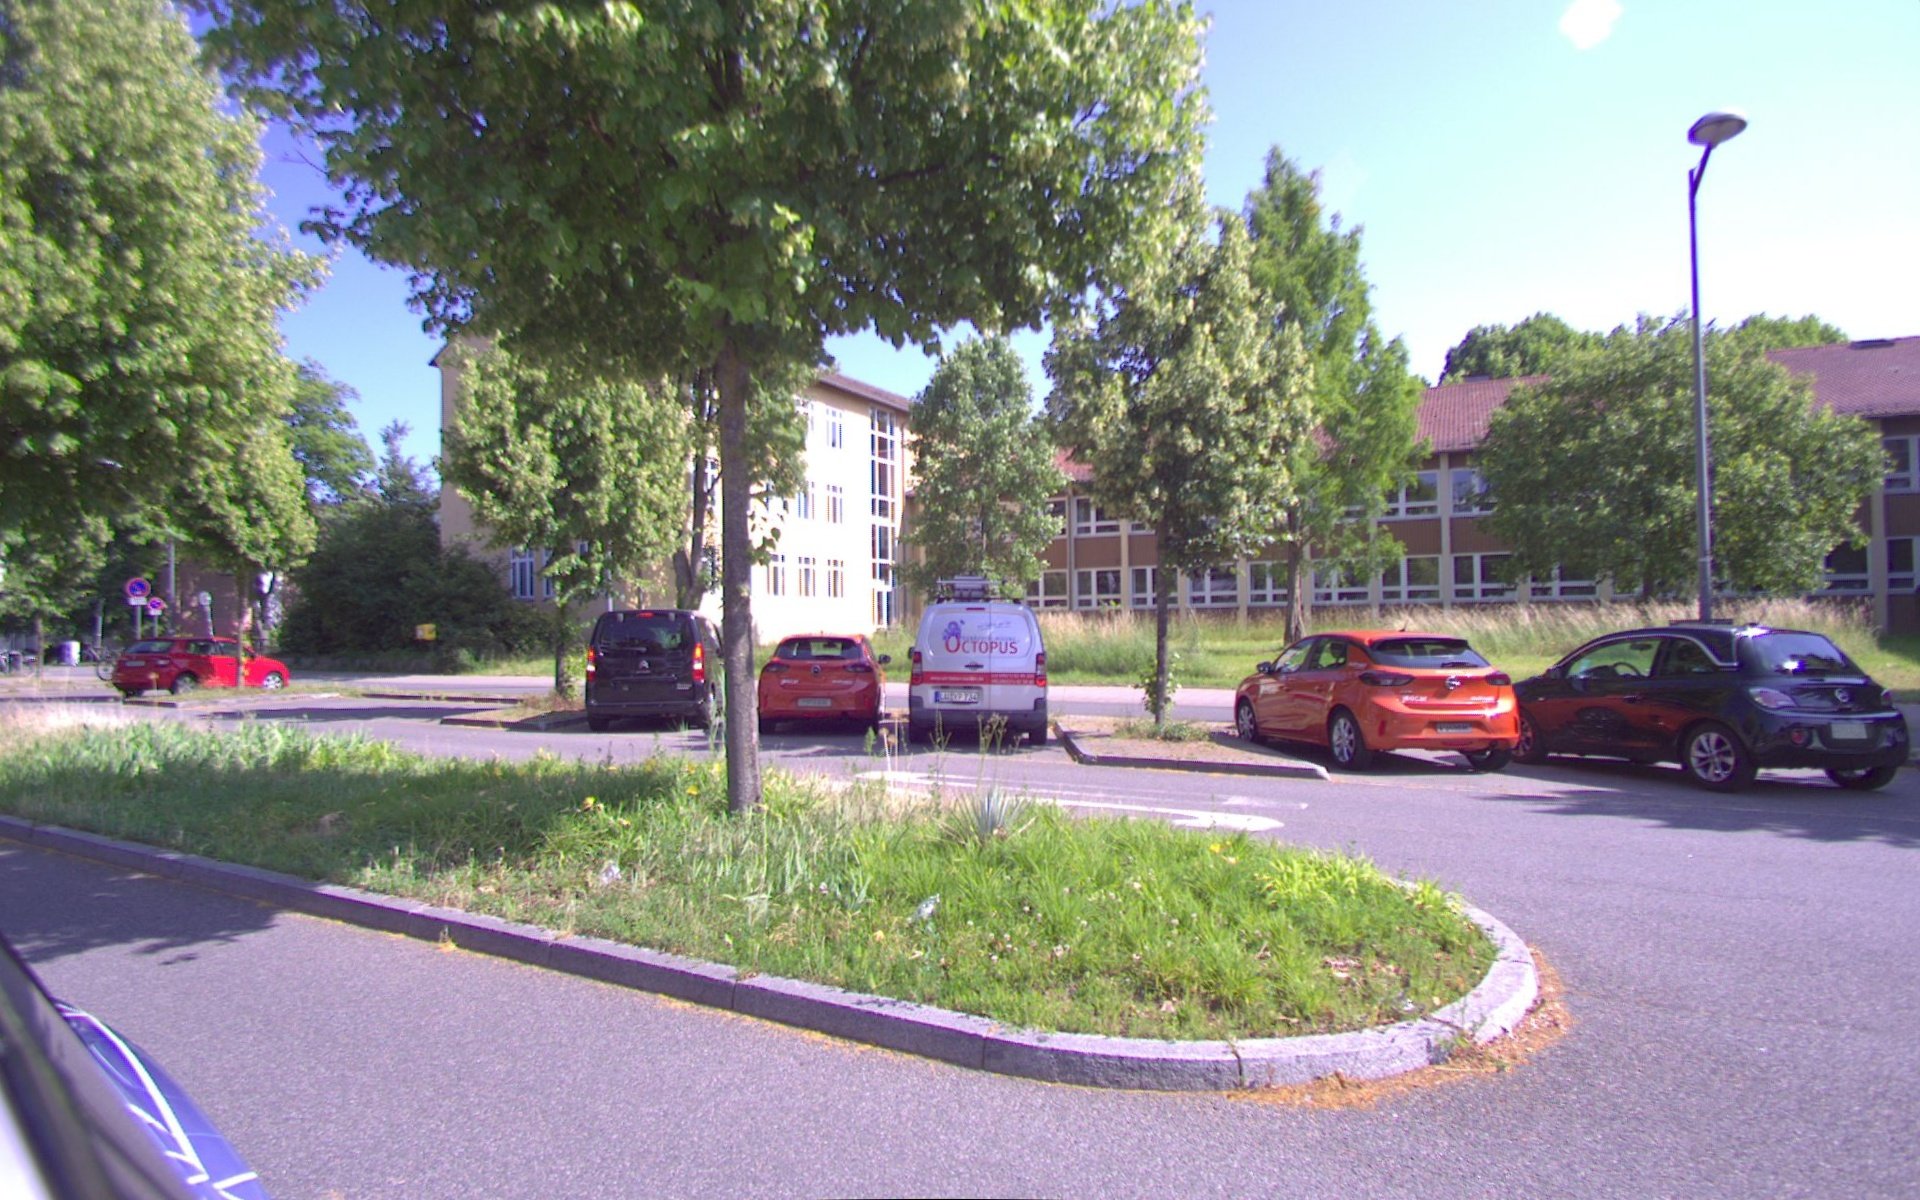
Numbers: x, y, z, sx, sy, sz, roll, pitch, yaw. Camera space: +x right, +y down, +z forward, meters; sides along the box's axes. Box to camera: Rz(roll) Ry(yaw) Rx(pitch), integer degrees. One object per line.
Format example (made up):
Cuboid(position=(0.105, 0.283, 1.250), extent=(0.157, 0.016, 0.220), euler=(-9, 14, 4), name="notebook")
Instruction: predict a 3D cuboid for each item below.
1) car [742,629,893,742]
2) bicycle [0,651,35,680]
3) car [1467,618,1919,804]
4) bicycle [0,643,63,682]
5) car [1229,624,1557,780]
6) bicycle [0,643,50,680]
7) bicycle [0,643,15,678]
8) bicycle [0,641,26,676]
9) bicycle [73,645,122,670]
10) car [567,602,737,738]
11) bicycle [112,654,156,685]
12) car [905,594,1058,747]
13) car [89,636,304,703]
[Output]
Cuboid(position=(-1.995, 1.204, 15.169), extent=(1.829, 1.438, 3.775), euler=(-1, -2, -2), name="car")
Cuboid(position=(-33.877, 2.299, 35.131), extent=(0.736, 0.995, 2.529), euler=(-2, -3, 27), name="bicycle")
Cuboid(position=(7.072, 0.950, 9.883), extent=(1.825, 1.434, 3.783), euler=(1, -3, -11), name="car")
Cuboid(position=(-31.830, 2.107, 33.925), extent=(0.736, 1.266, 2.529), euler=(-2, -2, 27), name="bicycle")
Cuboid(position=(4.593, 1.001, 11.430), extent=(1.689, 1.434, 3.848), euler=(-1, -1, -6), name="car")
Cuboid(position=(-32.795, 2.100, 34.503), extent=(0.736, 1.266, 2.500), euler=(-2, -3, 27), name="bicycle")
Cuboid(position=(-35.761, 2.178, 36.367), extent=(0.736, 1.266, 2.529), euler=(-2, -3, 27), name="bicycle")
Cuboid(position=(-34.894, 2.099, 35.874), extent=(0.736, 1.249, 2.529), euler=(-2, -3, 27), name="bicycle")
Cuboid(position=(-39.417, 2.628, 46.271), extent=(1.686, 1.089, 0.379), euler=(-1, -2, -20), name="bicycle")
Cuboid(position=(-4.703, 1.047, 16.057), extent=(1.972, 1.830, 4.195), euler=(-1, -2, -8), name="car")
Cuboid(position=(-25.011, 2.100, 30.629), extent=(1.263, 0.910, 0.518), euler=(-1, -3, 25), name="bicycle")
Cuboid(position=(0.189, 0.881, 13.840), extent=(1.793, 1.785, 3.776), euler=(-1, -2, -2), name="car")
Cuboid(position=(-18.576, 1.671, 24.883), extent=(1.977, 1.478, 3.989), euler=(-1, -3, 8), name="car")
